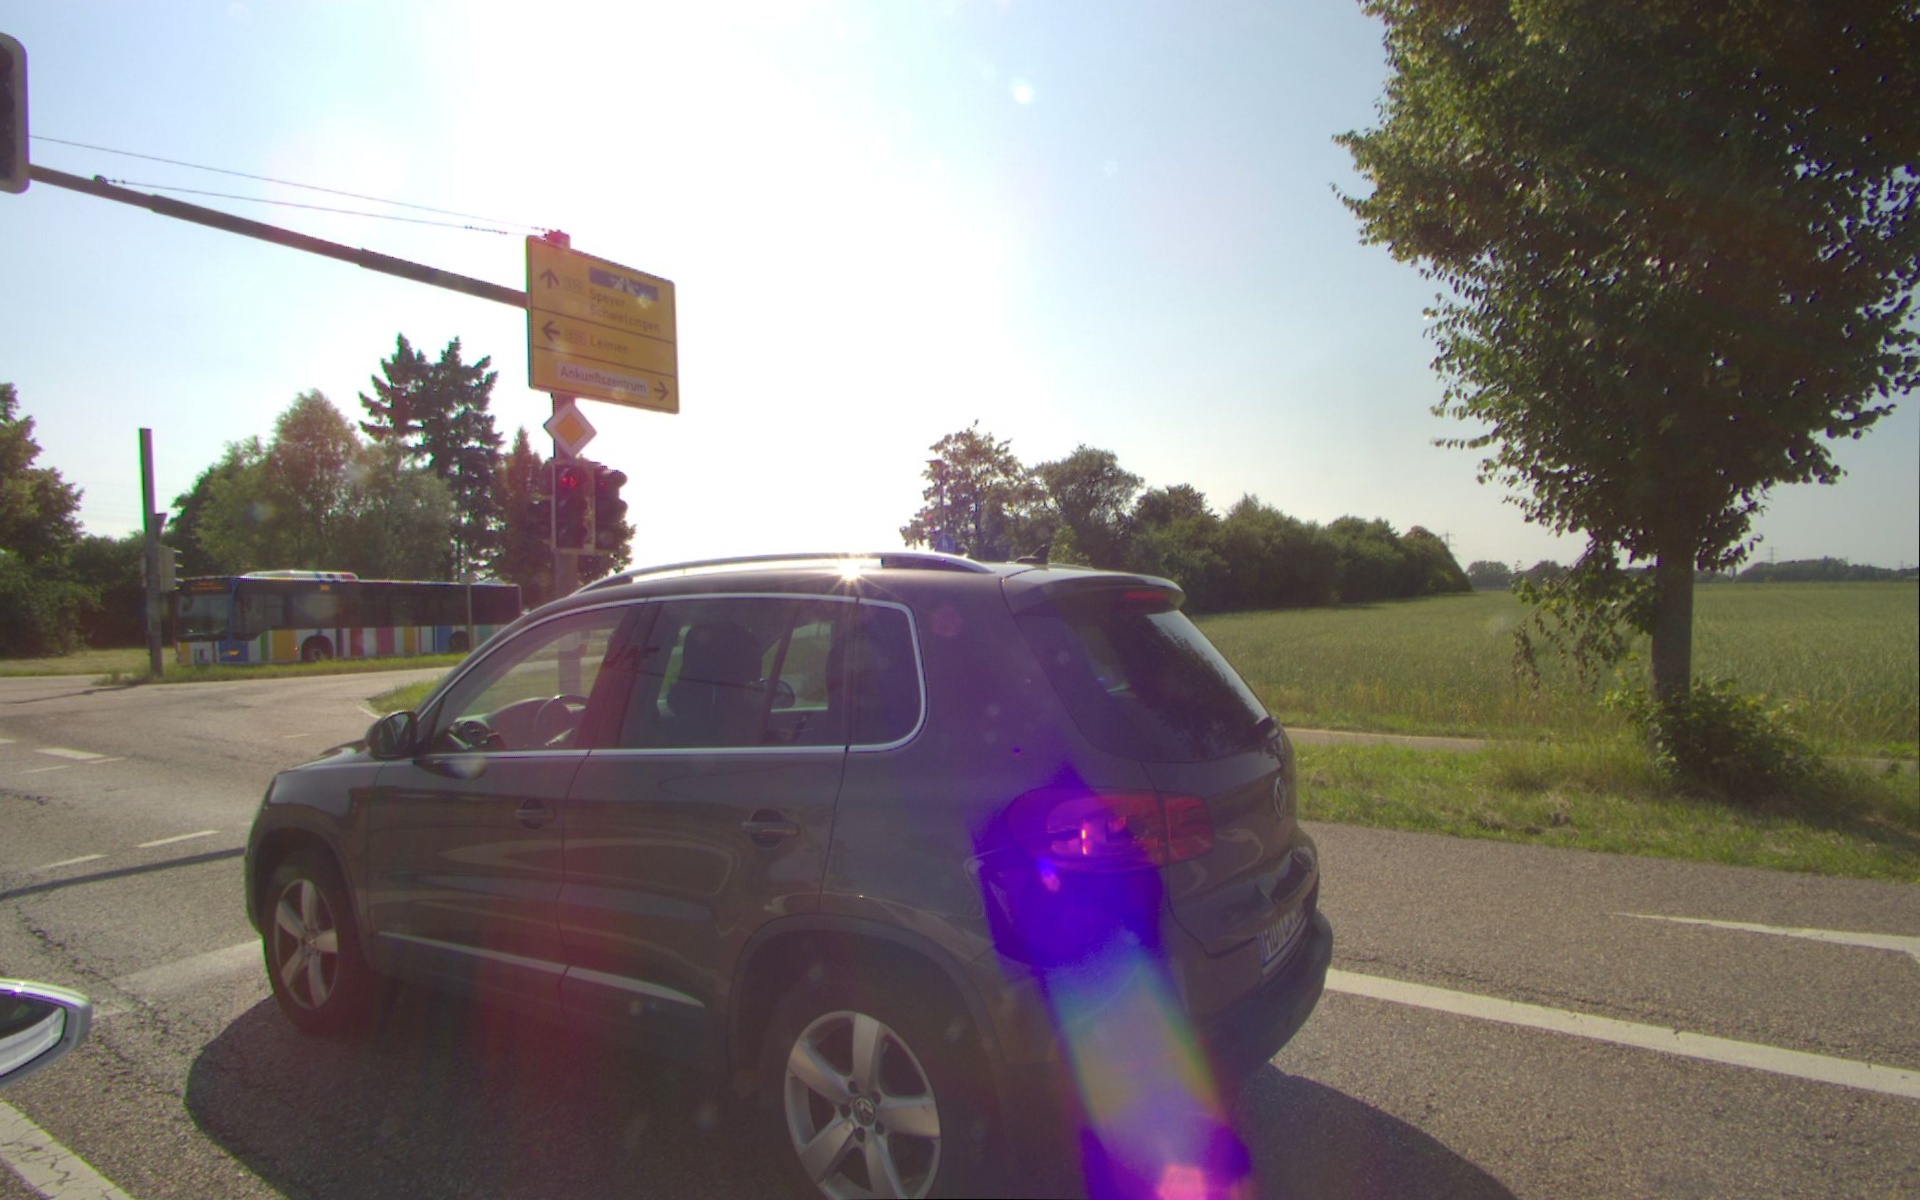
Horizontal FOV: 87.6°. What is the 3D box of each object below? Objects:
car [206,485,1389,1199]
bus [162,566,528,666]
[{"bbox_3d":[-0.777,0.686,3.619,4.086,1.677,1.753,-1,-2,32],"label":"car"},{"bbox_3d":[-20.644,0.418,35.167,2.889,2.916,11.955,-1,0,17],"label":"bus"}]
